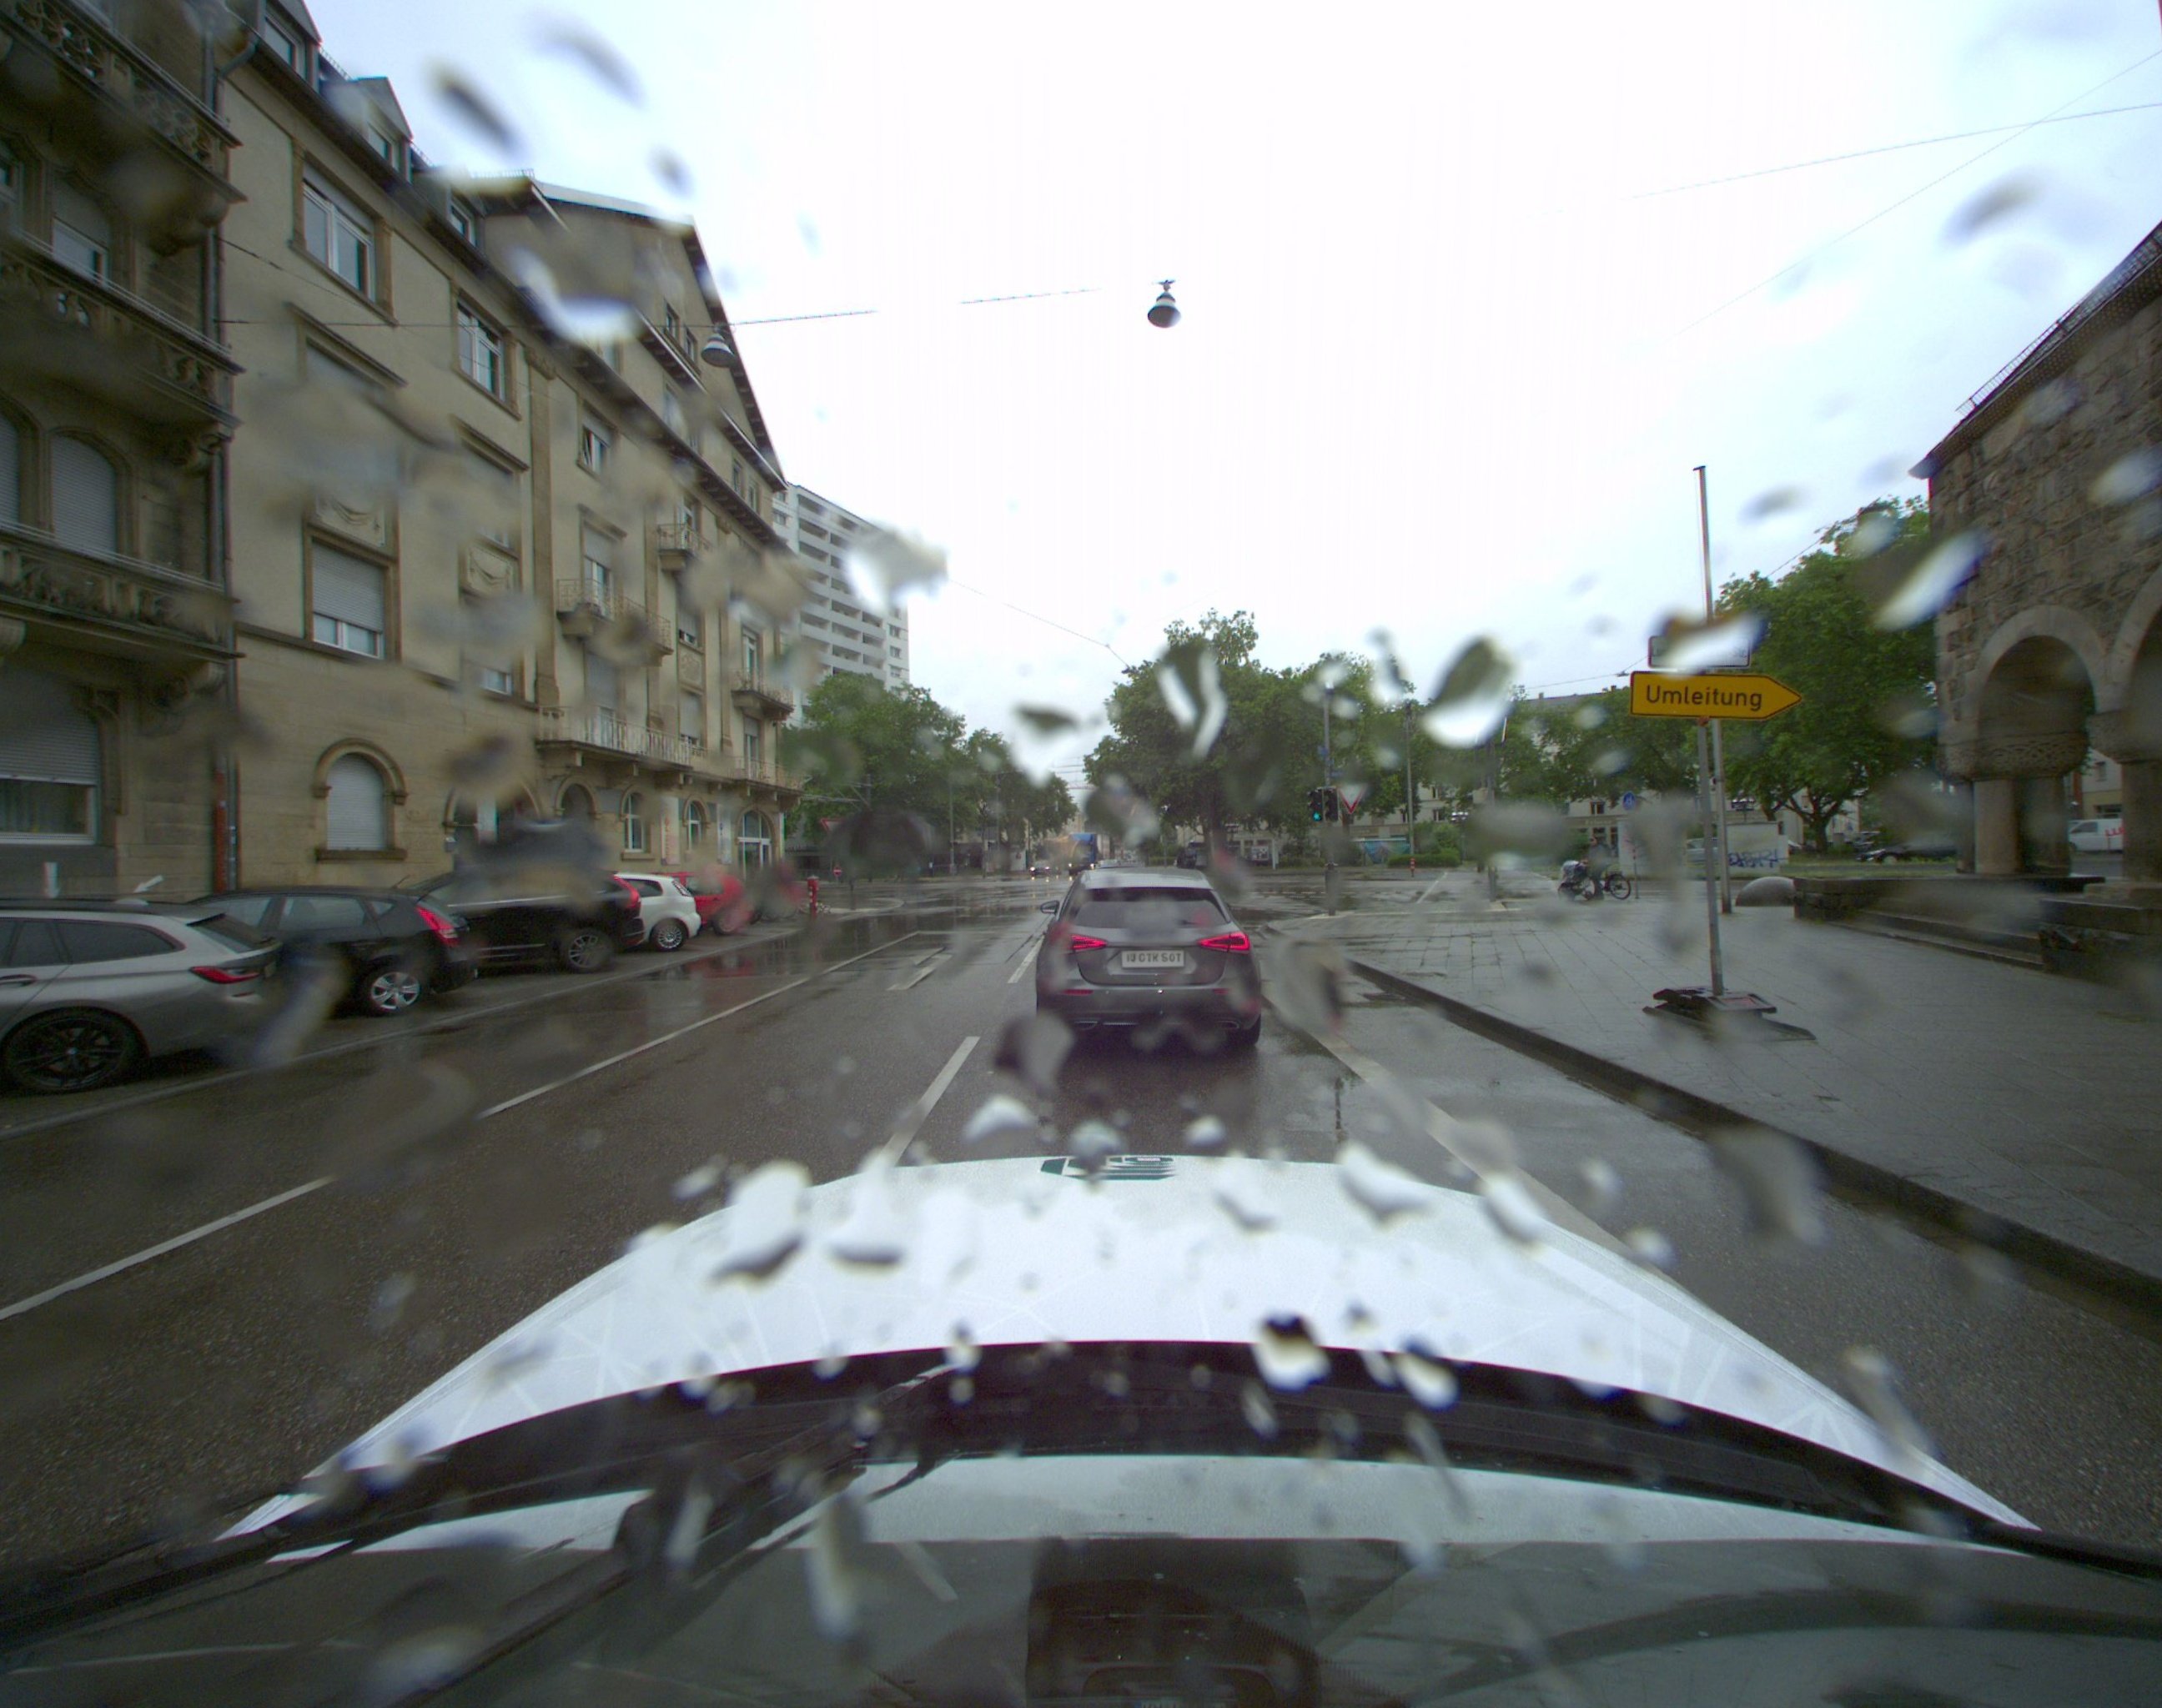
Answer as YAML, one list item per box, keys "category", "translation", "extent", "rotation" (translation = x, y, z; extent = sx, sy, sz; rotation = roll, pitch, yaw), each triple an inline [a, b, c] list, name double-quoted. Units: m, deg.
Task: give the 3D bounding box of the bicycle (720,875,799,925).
- category: "bicycle"
  translation: [-8.399, 1.182, 21.281]
  extent: [1.800, 1.184, 0.601]
  rotation: [2, 0, 7]

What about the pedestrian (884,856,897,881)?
- category: "pedestrian"
  translation: [-14.517, 1.125, 62.203]
  extent: [0.683, 1.838, 0.632]
  rotation: [-2, -1, -40]

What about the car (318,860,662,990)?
- category: "car"
  translation: [-8.976, 0.951, 12.702]
  extent: [4.104, 1.692, 1.744]
  rotation: [0, 0, -38]

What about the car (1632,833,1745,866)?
- category: "car"
  translation: [32.058, -0.231, 43.130]
  extent: [4.499, 1.599, 1.802]
  rotation: [-2, 0, 24]

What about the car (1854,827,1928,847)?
- category: "car"
  translation: [66.813, -1.388, 67.256]
  extent: [3.949, 1.452, 1.687]
  rotation: [-2, -1, 27]

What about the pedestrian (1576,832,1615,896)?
- category: "pedestrian"
  translation: [13.788, 0.267, 21.838]
  extent: [0.600, 1.663, 0.690]
  rotation: [-2, 0, 5]

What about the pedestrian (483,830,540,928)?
- category: "pedestrian"
  translation: [-14.071, 0.610, 20.130]
  extent: [0.838, 2.340, 0.768]
  rotation: [-2, 0, 24]

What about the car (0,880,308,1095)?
- category: "car"
  translation: [-8.798, 1.035, 6.646]
  extent: [3.446, 1.544, 1.682]
  rotation: [0, 0, -38]

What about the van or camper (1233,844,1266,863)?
- category: "van or camper"
  translation: [20.792, -0.025, 100.591]
  extent: [2.373, 2.231, 5.463]
  rotation: [-2, -1, 29]

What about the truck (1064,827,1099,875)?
- category: "truck"
  translation: [0.154, -0.232, 76.232]
  extent: [2.835, 4.025, 10.318]
  rotation: [-2, 0, 1]

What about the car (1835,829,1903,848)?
- category: "car"
  translation: [69.230, -1.338, 71.603]
  extent: [3.949, 1.452, 1.687]
  rotation: [-2, -1, 27]

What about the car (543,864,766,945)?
- category: "car"
  translation: [-9.399, 1.036, 18.175]
  extent: [1.781, 1.508, 4.024]
  rotation: [-2, 0, 43]

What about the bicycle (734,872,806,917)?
- category: "bicycle"
  translation: [-8.716, 1.128, 22.866]
  extent: [1.804, 1.185, 0.468]
  rotation: [2, -1, -1]

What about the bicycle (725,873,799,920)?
- category: "bicycle"
  translation: [-8.750, 1.162, 22.369]
  extent: [1.804, 1.184, 0.475]
  rotation: [2, -1, 0]

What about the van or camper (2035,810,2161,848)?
- category: "van or camper"
  translation: [56.172, -1.346, 44.647]
  extent: [4.615, 1.915, 2.011]
  rotation: [-2, 0, 21]

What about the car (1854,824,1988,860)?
- category: "car"
  translation: [40.480, -0.560, 39.373]
  extent: [4.127, 1.599, 1.789]
  rotation: [-2, 0, 24]

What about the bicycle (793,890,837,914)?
- category: "bicycle"
  translation: [-8.339, 1.489, 25.461]
  extent: [1.045, 0.663, 1.464]
  rotation: [1, -1, -29]

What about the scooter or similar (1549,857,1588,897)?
- category: "scooter or similar"
  translation: [13.285, 0.612, 22.208]
  extent: [0.511, 1.048, 0.925]
  rotation: [-2, 0, 4]

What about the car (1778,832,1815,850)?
- category: "car"
  translation: [68.807, -1.204, 78.380]
  extent: [1.694, 1.618, 4.024]
  rotation: [-1, -1, 27]

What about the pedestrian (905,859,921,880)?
- category: "pedestrian"
  translation: [-13.267, 1.208, 64.304]
  extent: [0.828, 1.648, 0.759]
  rotation: [-3, -1, 17]

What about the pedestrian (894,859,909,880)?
- category: "pedestrian"
  translation: [-14.241, 1.212, 64.658]
  extent: [0.785, 1.648, 0.820]
  rotation: [-3, -1, 17]

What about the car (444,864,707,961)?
- category: "car"
  translation: [-9.347, 0.976, 15.234]
  extent: [4.013, 1.533, 1.685]
  rotation: [0, 0, -38]

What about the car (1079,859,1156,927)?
- category: "car"
  translation: [0.841, 0.857, 19.456]
  extent: [1.601, 1.372, 4.002]
  rotation: [-2, 0, 2]

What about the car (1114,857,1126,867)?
- category: "car"
  translation: [6.799, 1.369, 142.798]
  extent: [1.987, 1.574, 4.000]
  rotation: [-2, -1, 1]

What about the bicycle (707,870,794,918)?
- category: "bicycle"
  translation: [-10.168, 1.219, 25.133]
  extent: [2.335, 1.346, 0.639]
  rotation: [-3, 0, -4]

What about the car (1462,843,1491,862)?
- category: "car"
  translation: [35.114, -0.121, 72.369]
  extent: [1.650, 1.521, 3.695]
  rotation: [-2, -1, 17]

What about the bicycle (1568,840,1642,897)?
- category: "bicycle"
  translation: [14.162, 0.387, 22.066]
  extent: [0.531, 1.466, 1.935]
  rotation: [-2, 0, -8]

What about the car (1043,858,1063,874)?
- category: "car"
  translation: [-2.872, 1.227, 82.934]
  extent: [1.720, 1.546, 4.341]
  rotation: [-2, 0, 1]

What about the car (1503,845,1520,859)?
- category: "car"
  translation: [46.959, -0.203, 88.813]
  extent: [1.535, 1.467, 3.386]
  rotation: [-2, -3, 26]

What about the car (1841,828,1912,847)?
- category: "car"
  translation: [67.854, -1.368, 69.534]
  extent: [3.949, 1.452, 1.687]
  rotation: [-2, -1, 27]

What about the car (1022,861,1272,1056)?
- category: "car"
  translation: [0.527, 0.767, 7.594]
  extent: [1.784, 1.372, 3.508]
  rotation: [0, 0, 2]

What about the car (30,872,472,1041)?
- category: "car"
  translation: [-9.107, 1.007, 9.382]
  extent: [3.326, 1.525, 1.682]
  rotation: [0, 0, -37]

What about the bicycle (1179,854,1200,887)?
- category: "bicycle"
  translation: [4.712, 0.688, 35.263]
  extent: [0.745, 1.377, 2.714]
  rotation: [-3, 0, 9]

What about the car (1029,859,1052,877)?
- category: "car"
  translation: [-3.646, 1.272, 74.488]
  extent: [1.737, 1.546, 3.779]
  rotation: [-2, 0, 1]

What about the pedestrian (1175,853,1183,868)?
- category: "pedestrian"
  translation: [11.450, 0.759, 95.043]
  extent: [0.668, 1.669, 0.711]
  rotation: [-1, -1, -34]

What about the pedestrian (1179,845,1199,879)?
- category: "pedestrian"
  translation: [4.669, 0.328, 35.150]
  extent: [0.740, 1.398, 1.049]
  rotation: [-3, -1, 9]

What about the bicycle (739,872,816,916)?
- category: "bicycle"
  translation: [-8.718, 1.154, 23.431]
  extent: [1.974, 1.185, 0.474]
  rotation: [2, -1, -2]

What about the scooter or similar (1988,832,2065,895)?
- category: "scooter or similar"
  translation: [21.416, 0.228, 18.469]
  extent: [1.090, 1.387, 0.288]
  rotation: [-2, 0, 24]
